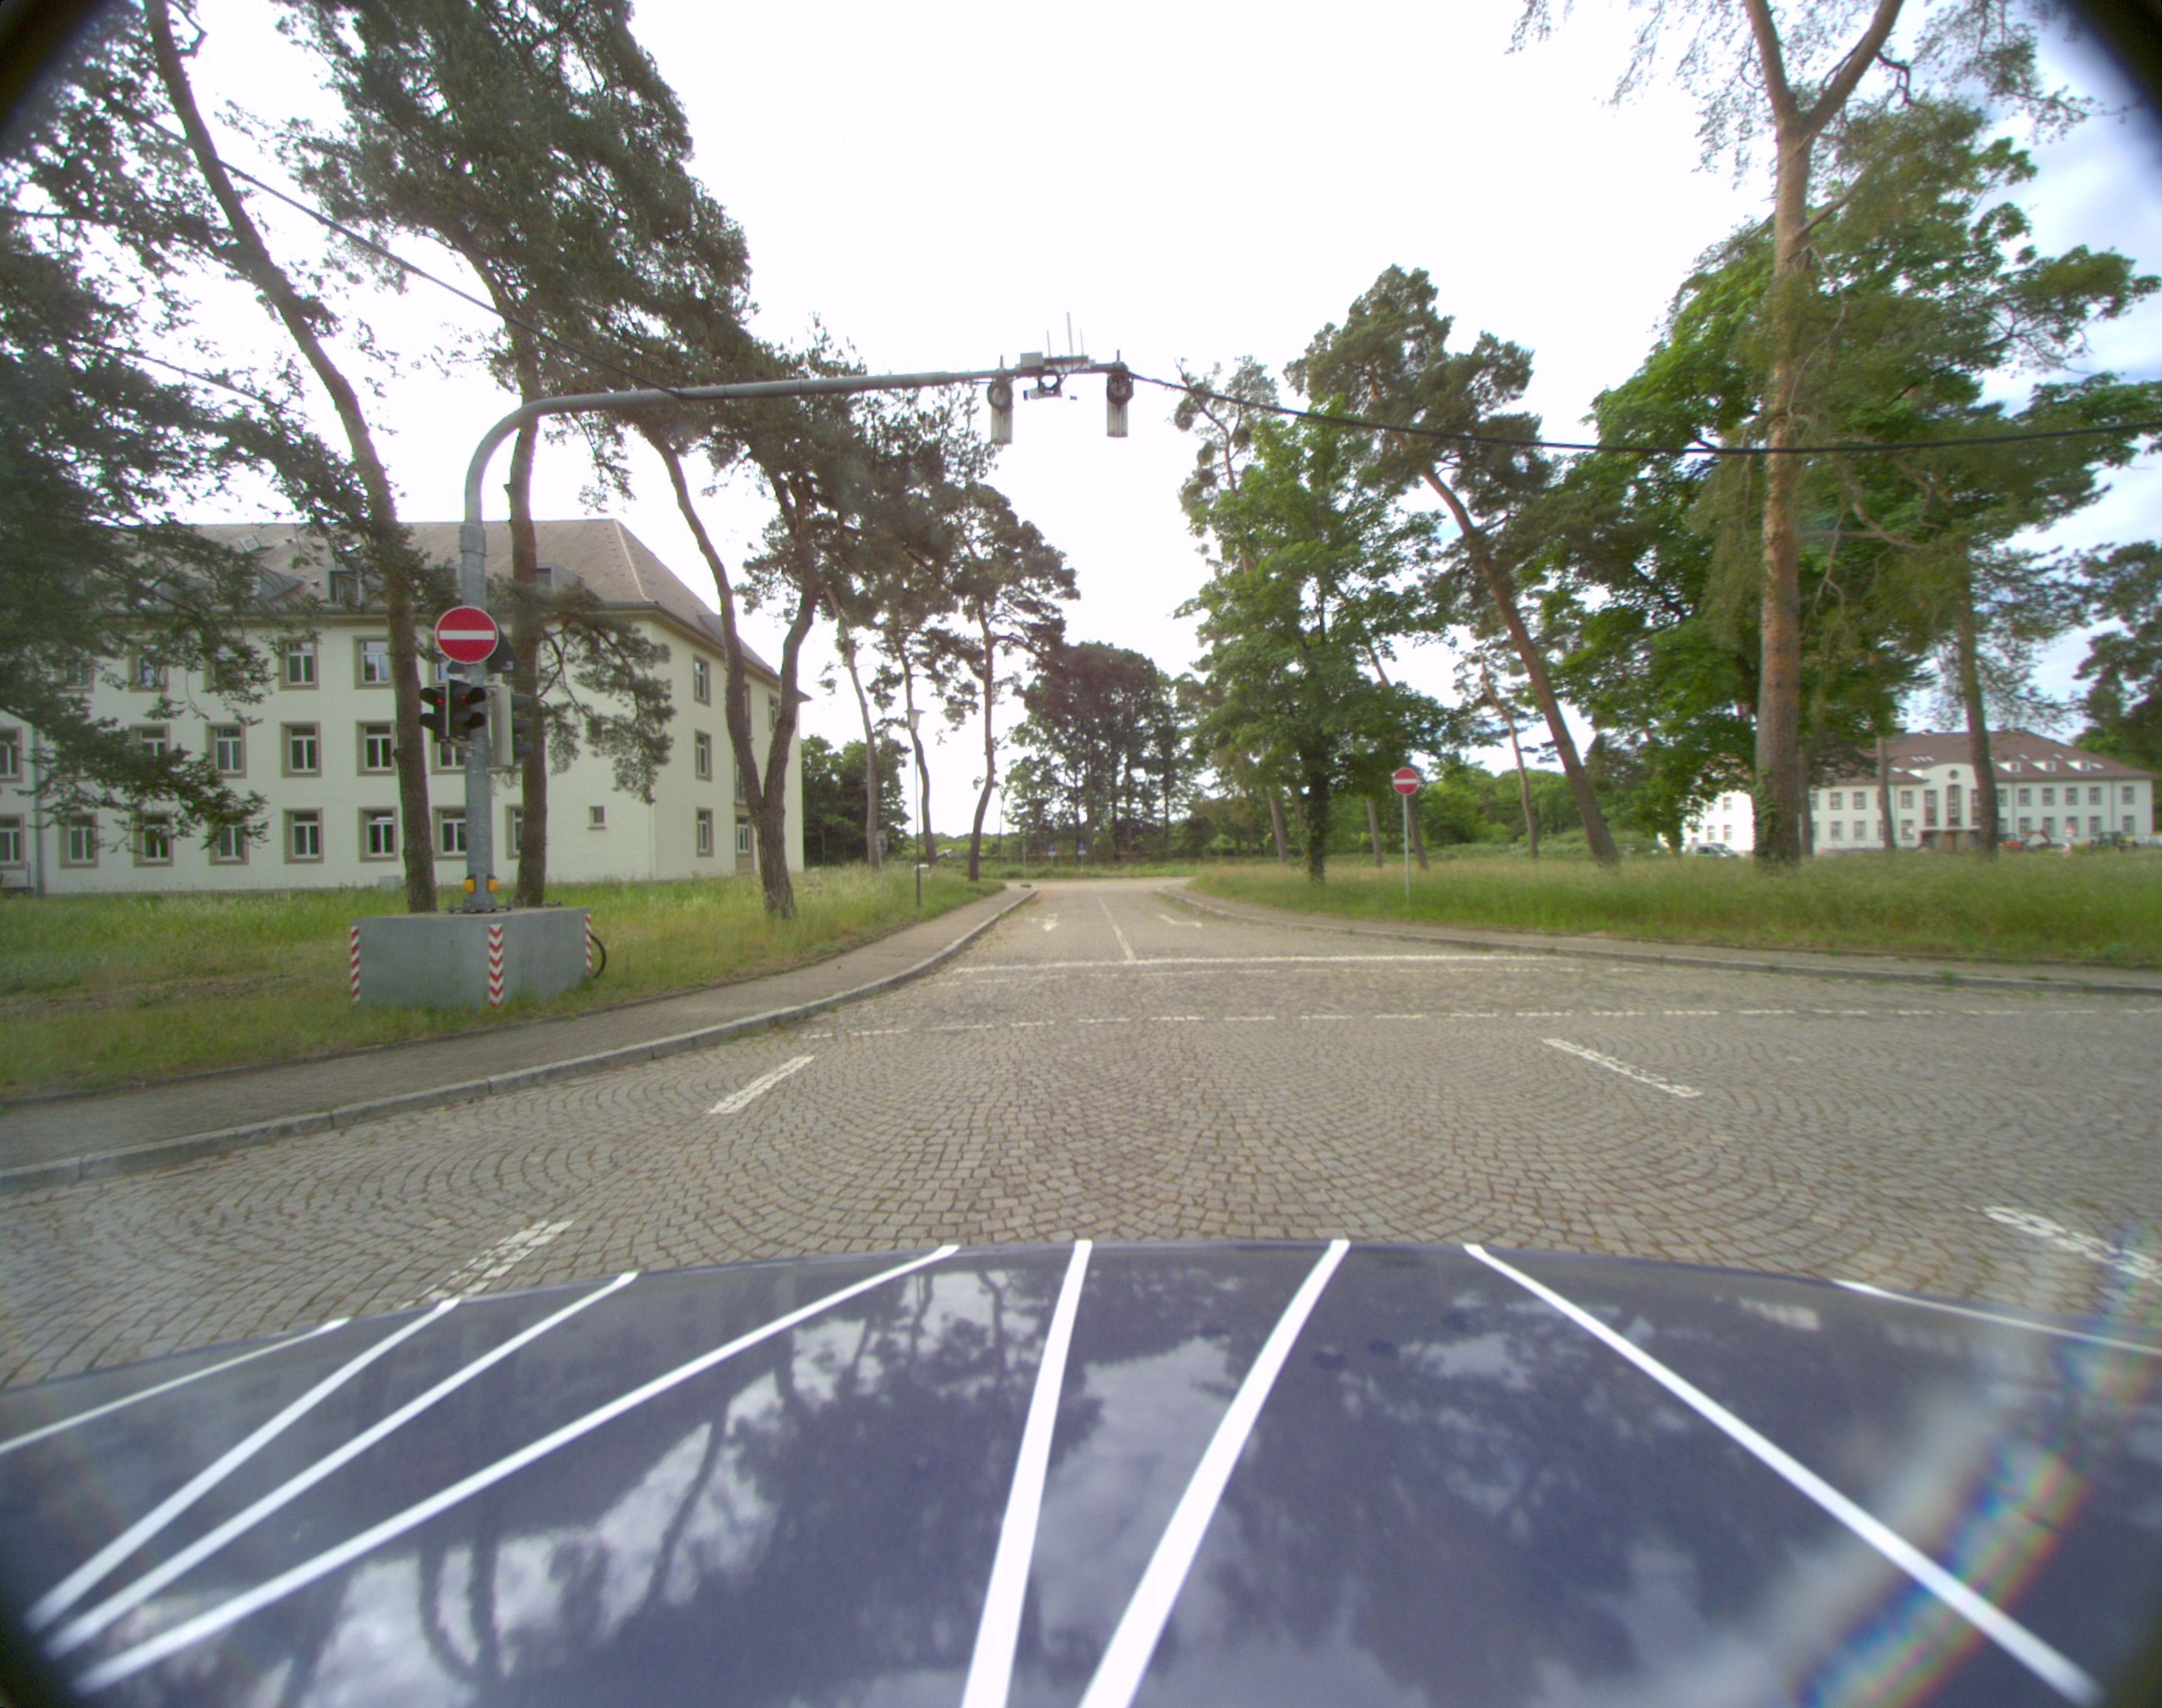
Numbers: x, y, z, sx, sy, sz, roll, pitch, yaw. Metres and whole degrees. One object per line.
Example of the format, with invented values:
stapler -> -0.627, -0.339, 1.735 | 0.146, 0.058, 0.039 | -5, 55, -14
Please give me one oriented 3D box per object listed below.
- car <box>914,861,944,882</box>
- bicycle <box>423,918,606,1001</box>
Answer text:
car -> -11.739, 1.346, 58.938 | 1.641, 1.426, 3.277 | -1, 2, 0
bicycle -> -6.617, 1.224, 8.923 | 1.704, 0.869, 0.573 | -1, 0, 0
